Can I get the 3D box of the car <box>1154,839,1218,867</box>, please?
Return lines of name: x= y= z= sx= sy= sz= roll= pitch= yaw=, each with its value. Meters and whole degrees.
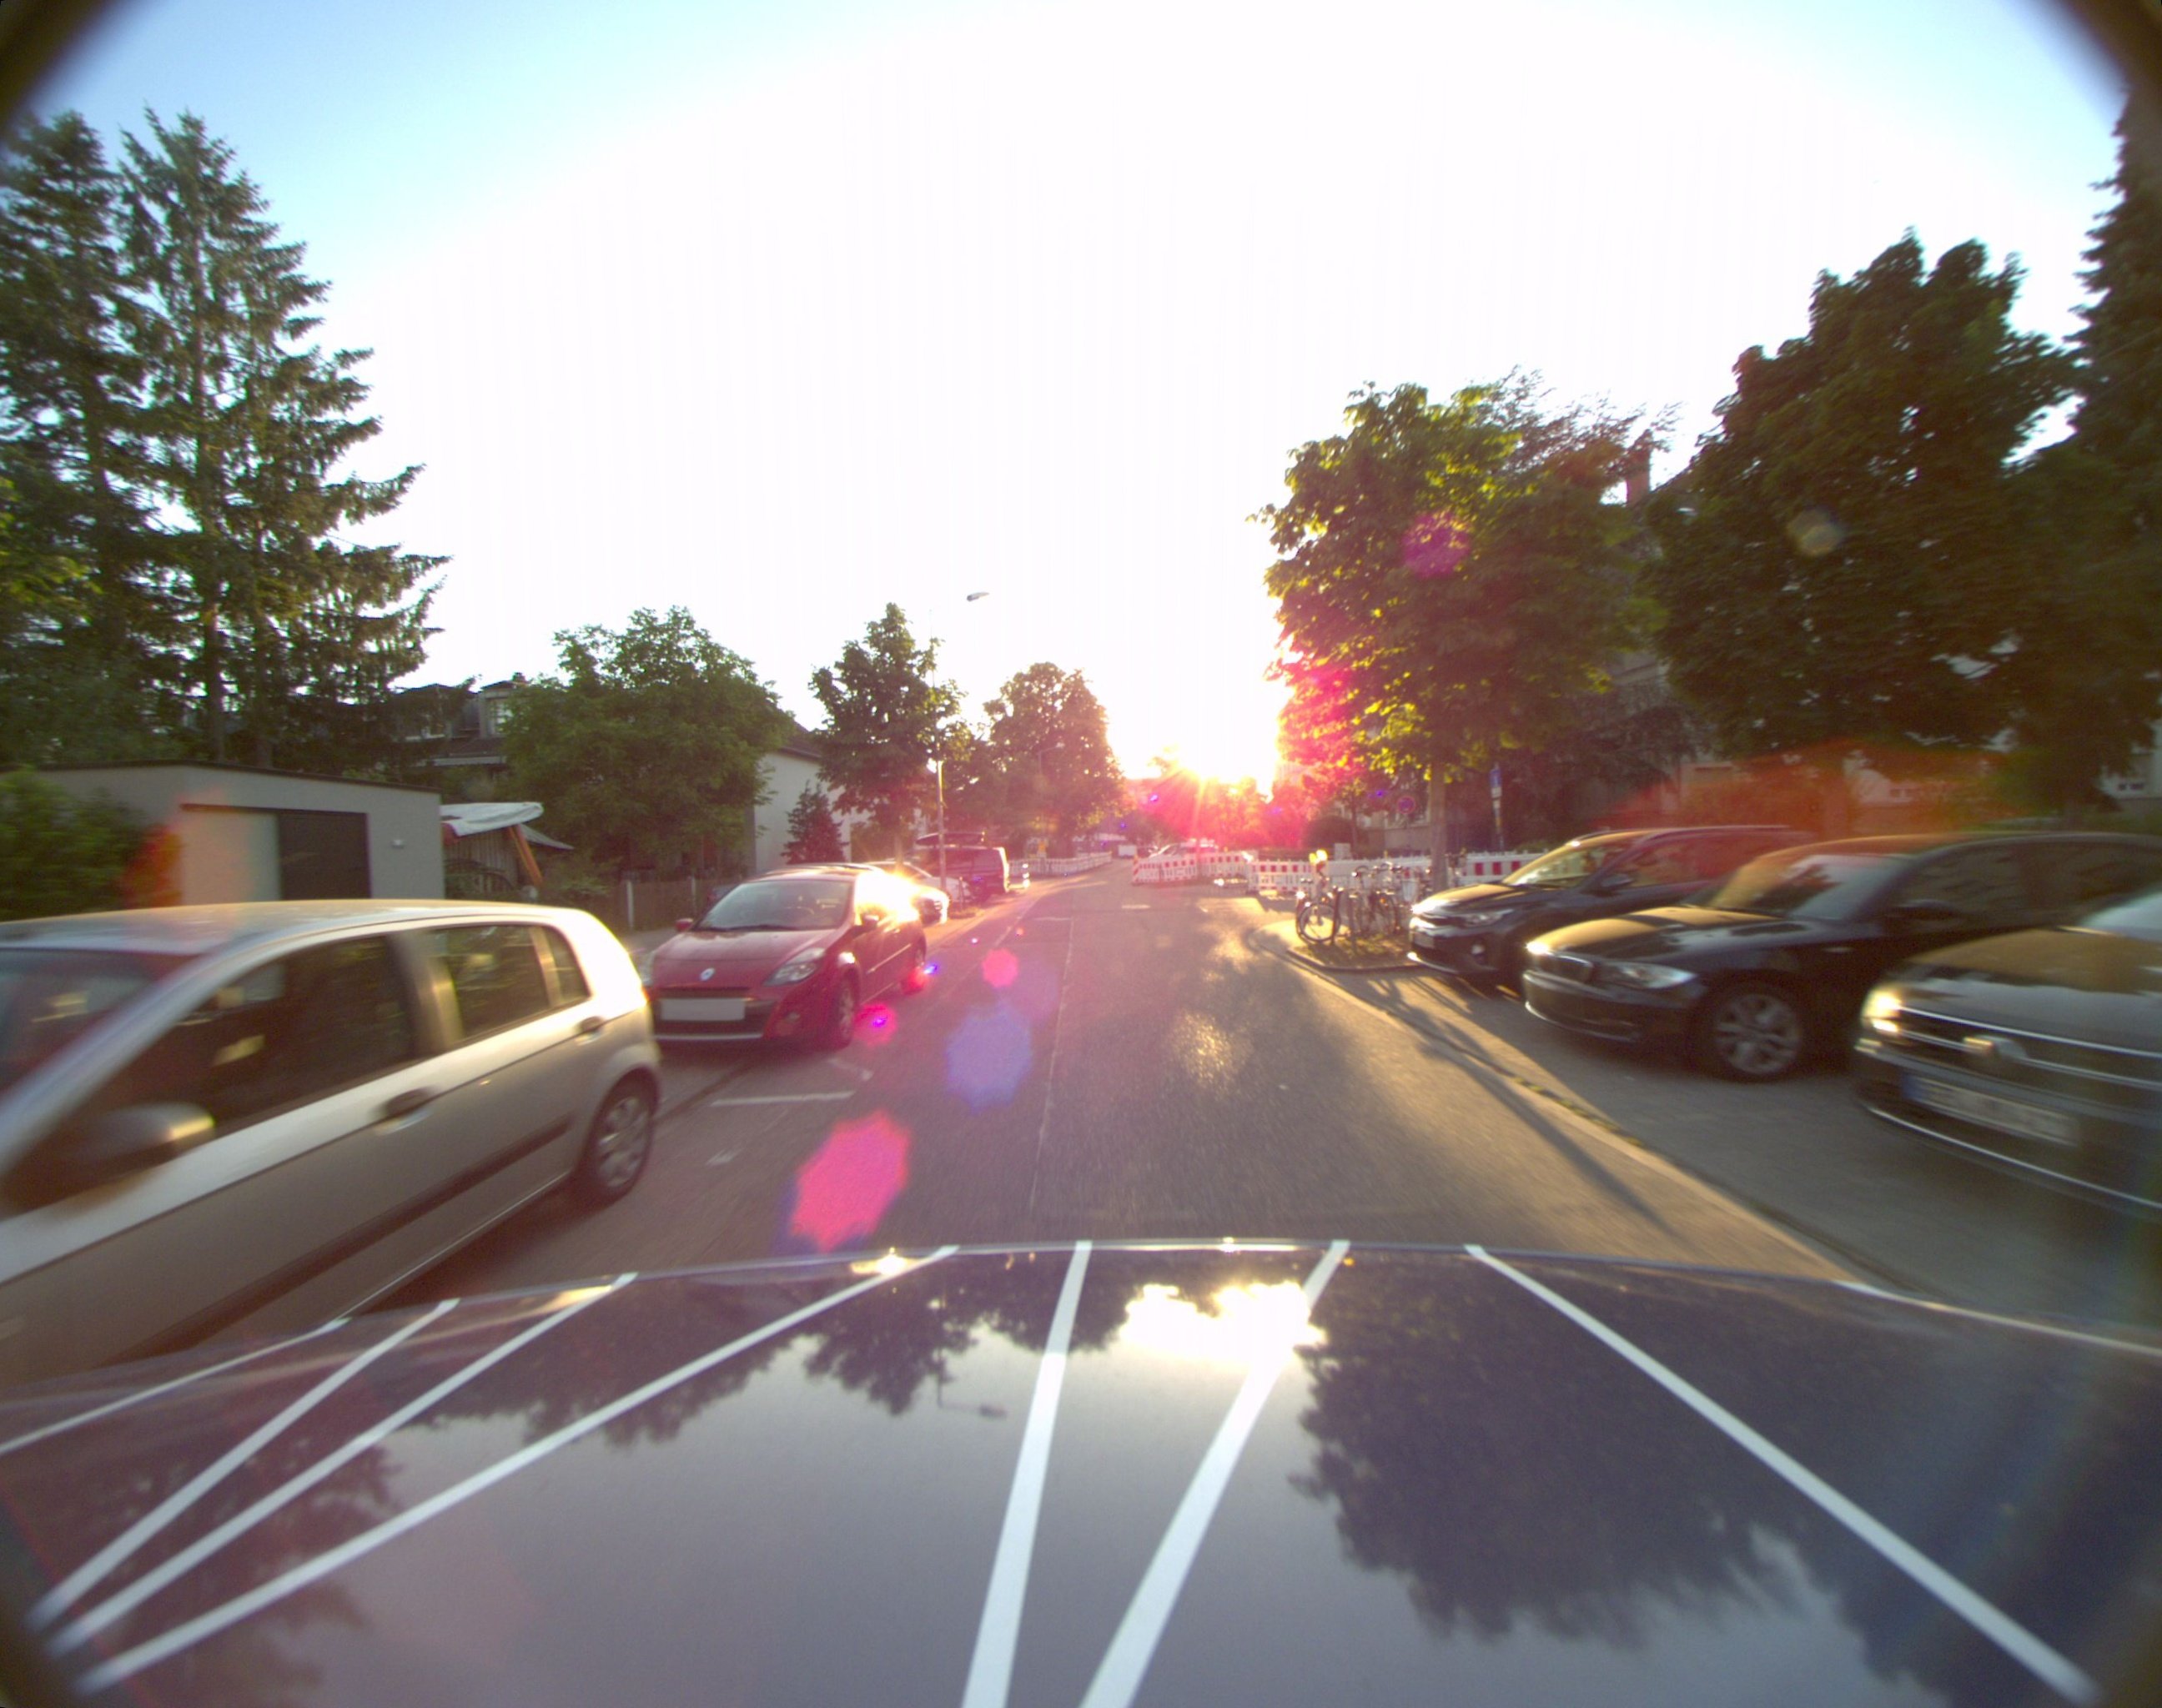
car: x=6.987 y=-0.090 z=50.887 sx=4.129 sy=1.674 sz=2.000 roll=-2 pitch=1 yaw=5

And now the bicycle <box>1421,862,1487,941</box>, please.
bicycle: x=5.977 y=0.729 z=12.236 sx=0.280 sy=1.151 sz=1.526 roll=-2 pitch=1 yaw=0

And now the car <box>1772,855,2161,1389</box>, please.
car: x=5.236 y=0.732 z=2.602 sx=4.041 sy=1.475 sz=1.728 roll=-4 pitch=1 yaw=2

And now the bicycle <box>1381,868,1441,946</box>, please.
bicycle: x=5.368 y=0.828 z=12.436 sx=0.280 sy=1.151 sz=1.526 roll=-2 pitch=1 yaw=0

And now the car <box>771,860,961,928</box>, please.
car: x=-5.151 y=0.937 z=18.559 sx=4.064 sy=1.493 sz=1.770 roll=-1 pitch=0 yaw=3

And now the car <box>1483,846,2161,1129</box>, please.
car: x=5.126 y=0.770 z=5.173 sx=3.851 sy=1.376 sz=1.607 roll=-4 pitch=1 yaw=1

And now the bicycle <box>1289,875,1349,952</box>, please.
bicycle: x=3.860 y=0.929 z=12.427 sx=0.448 sy=1.089 sz=1.629 roll=-2 pitch=1 yaw=0

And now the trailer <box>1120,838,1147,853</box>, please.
trailer: x=8.072 y=-1.280 z=116.043 sx=3.683 sy=2.057 sz=2.002 roll=-3 pitch=1 yaw=14

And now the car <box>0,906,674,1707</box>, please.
car: x=-3.068 y=1.063 z=2.098 sx=1.802 sy=1.461 sz=3.842 roll=-3 pitch=1 yaw=-1

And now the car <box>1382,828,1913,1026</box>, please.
car: x=5.432 y=0.655 z=7.718 sx=3.996 sy=1.533 sz=1.728 roll=-4 pitch=1 yaw=2

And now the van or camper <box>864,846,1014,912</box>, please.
van or camper: x=-4.720 y=0.787 z=25.894 sx=4.660 sy=1.942 sz=2.094 roll=-3 pitch=1 yaw=-3

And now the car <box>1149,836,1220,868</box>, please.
car: x=7.242 y=-0.152 z=53.440 sx=4.785 sy=2.058 sz=2.000 roll=-2 pitch=1 yaw=5

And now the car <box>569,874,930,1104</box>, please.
car: x=-2.785 y=1.041 z=7.405 sx=1.745 sy=1.461 sz=3.758 roll=-2 pitch=1 yaw=1

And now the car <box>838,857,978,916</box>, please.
car: x=-5.211 y=0.966 z=23.252 sx=3.842 sy=1.535 sz=1.628 roll=-3 pitch=1 yaw=-1

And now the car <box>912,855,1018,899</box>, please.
car: x=-4.684 y=0.930 z=31.136 sx=3.997 sy=1.551 sz=1.793 roll=-3 pitch=1 yaw=0

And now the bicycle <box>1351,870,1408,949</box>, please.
bicycle: x=4.796 y=0.857 z=12.279 sx=0.280 sy=1.151 sz=1.526 roll=-3 pitch=1 yaw=0

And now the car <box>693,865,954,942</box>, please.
car: x=-5.235 y=0.995 z=15.899 sx=4.830 sy=1.390 sz=1.770 roll=-1 pitch=0 yaw=0
